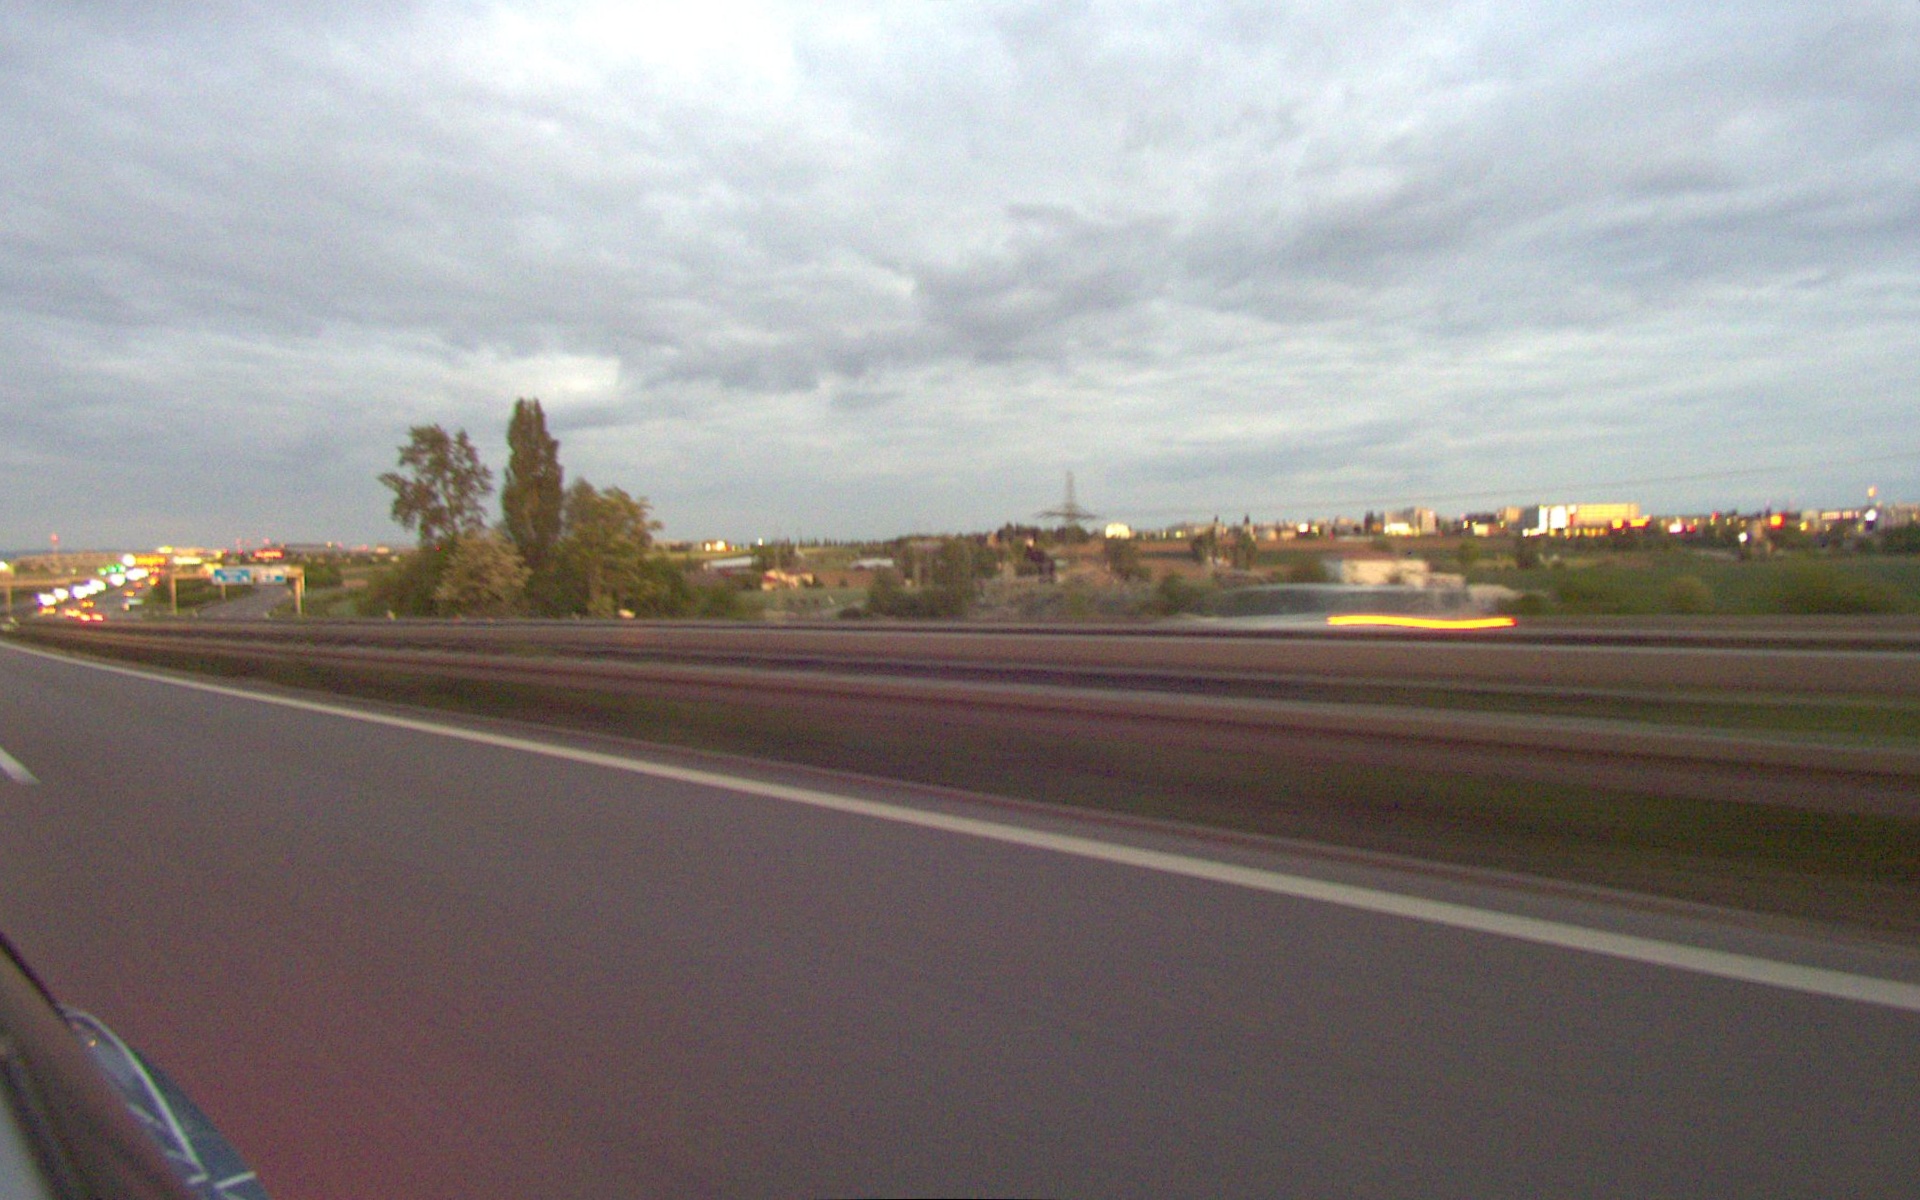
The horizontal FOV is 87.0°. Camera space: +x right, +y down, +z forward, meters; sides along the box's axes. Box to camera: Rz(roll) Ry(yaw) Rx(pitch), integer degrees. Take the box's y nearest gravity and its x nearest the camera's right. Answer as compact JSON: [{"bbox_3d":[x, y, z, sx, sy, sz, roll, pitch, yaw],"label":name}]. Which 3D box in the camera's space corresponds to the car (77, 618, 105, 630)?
[{"bbox_3d":[-109.803,3.012,127.838,4.794,1.414,1.973,-1,-1,40],"label":"car"}]

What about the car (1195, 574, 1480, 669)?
[{"bbox_3d":[7.248,0.408,19.780,4.844,1.637,1.971,-1,-1,44],"label":"car"}]

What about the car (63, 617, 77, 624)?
[{"bbox_3d":[-169.928,3.927,193.203,4.185,1.236,1.702,-1,-1,45],"label":"car"}]
